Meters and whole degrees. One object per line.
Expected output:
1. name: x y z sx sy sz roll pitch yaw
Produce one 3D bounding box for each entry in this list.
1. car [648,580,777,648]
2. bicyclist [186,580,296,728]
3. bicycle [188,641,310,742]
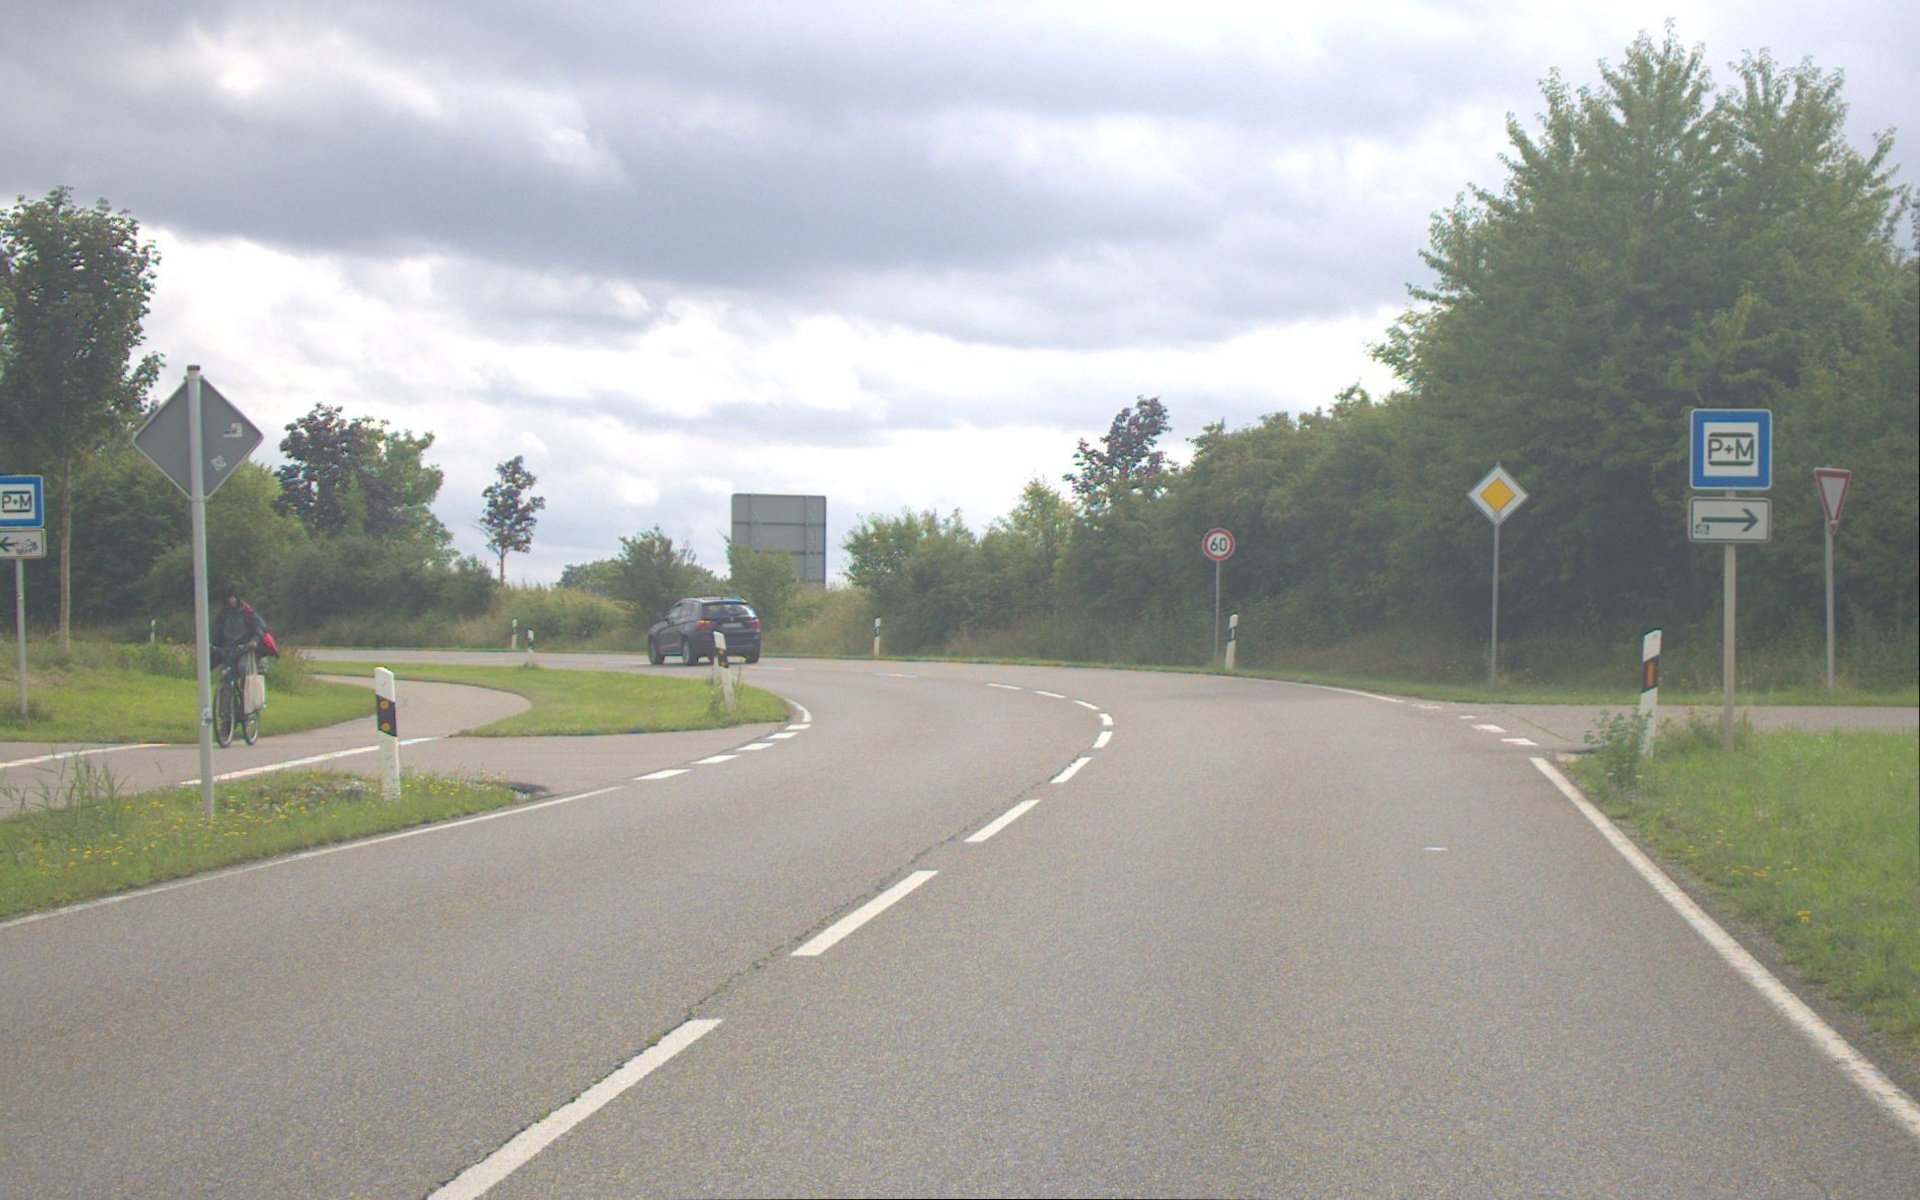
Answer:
1. car: -6.254 0.331 86.590 1.906 1.661 4.001 0 0 -26
2. bicyclist: -7.707 0.568 36.882 0.831 1.560 1.055 0 0 9
3. bicycle: -7.664 0.969 37.159 0.636 1.028 2.190 0 0 7
